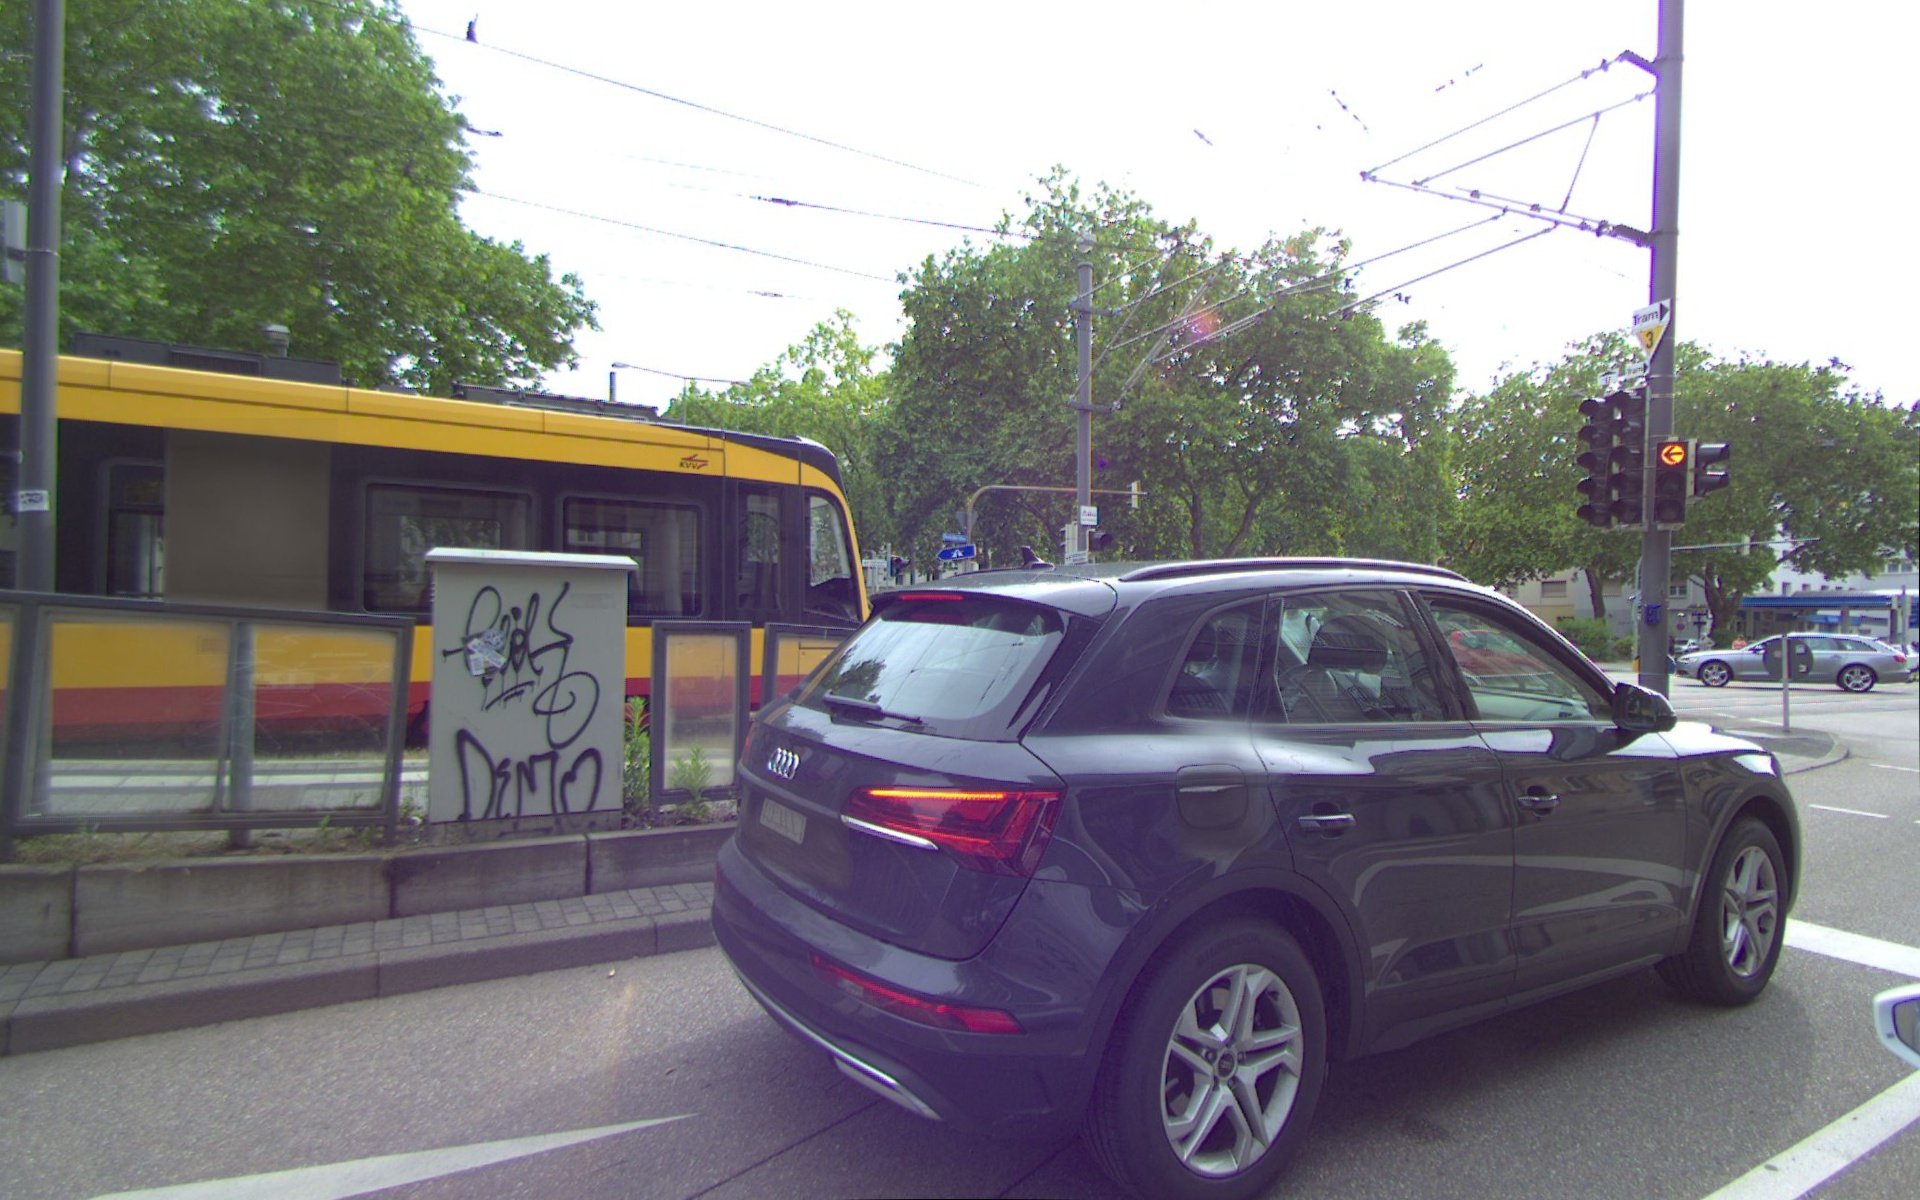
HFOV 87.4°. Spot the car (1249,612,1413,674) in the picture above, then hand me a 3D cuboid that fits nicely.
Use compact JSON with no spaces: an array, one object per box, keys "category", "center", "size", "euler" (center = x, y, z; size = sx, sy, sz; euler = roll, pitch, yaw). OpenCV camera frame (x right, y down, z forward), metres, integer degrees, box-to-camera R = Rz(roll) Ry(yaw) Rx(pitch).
[{"category":"car","center":[11.084,1.243,30.127],"size":[4.268,1.607,1.806],"euler":[2,0,35]}]

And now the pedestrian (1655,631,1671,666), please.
[{"category":"pedestrian","center":[36.758,2.525,52.533],"size":[0.541,1.808,0.375],"euler":[2,0,1]}]

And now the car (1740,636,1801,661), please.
[{"category":"car","center":[55.269,3.295,68.490],"size":[3.954,1.550,1.984],"euler":[2,0,-30]}]

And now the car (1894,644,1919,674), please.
[{"category":"car","center":[53.436,3.259,55.306],"size":[3.792,1.578,1.885],"euler":[2,0,-30]}]

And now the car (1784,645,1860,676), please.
[{"category":"car","center":[42.019,2.936,48.966],"size":[3.954,1.343,1.626],"euler":[2,0,-31]}]

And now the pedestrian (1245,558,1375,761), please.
[{"category":"pedestrian","center":[3.072,0.498,8.841],"size":[0.722,1.683,0.750],"euler":[2,0,-30]}]

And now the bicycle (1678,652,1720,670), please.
[{"category":"bicycle","center":[36.444,3.012,49.555],"size":[0.644,0.783,1.682],"euler":[2,0,-9]}]

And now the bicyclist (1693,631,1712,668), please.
[{"category":"bicyclist","center":[36.494,2.430,49.351],"size":[0.461,1.808,0.534],"euler":[2,0,-10]}]

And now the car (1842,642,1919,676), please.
[{"category":"car","center":[47.386,3.035,51.727],"size":[3.792,1.578,1.885],"euler":[2,0,-30]}]

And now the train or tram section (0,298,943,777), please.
[{"category":"train or tram section","center":[-7.732,-0.480,9.141],"size":[15.665,3.636,3.045],"euler":[2,0,-31]}]

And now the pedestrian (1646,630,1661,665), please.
[{"category":"pedestrian","center":[36.539,2.517,52.932],"size":[0.440,1.808,0.375],"euler":[2,0,3]}]

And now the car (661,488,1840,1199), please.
[{"category":"car","center":[1.289,0.665,3.811],"size":[4.308,1.622,1.870],"euler":[2,-1,-31]}]

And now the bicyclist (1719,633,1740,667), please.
[{"category":"bicyclist","center":[37.344,2.433,48.725],"size":[0.611,1.588,0.585],"euler":[2,0,-30]}]

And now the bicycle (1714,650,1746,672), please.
[{"category":"bicycle","center":[37.283,2.956,48.631],"size":[1.914,1.031,0.519],"euler":[2,0,-30]}]

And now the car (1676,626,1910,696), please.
[{"category":"car","center":[22.128,1.568,26.925],"size":[4.660,1.530,1.830],"euler":[2,0,39]}]
